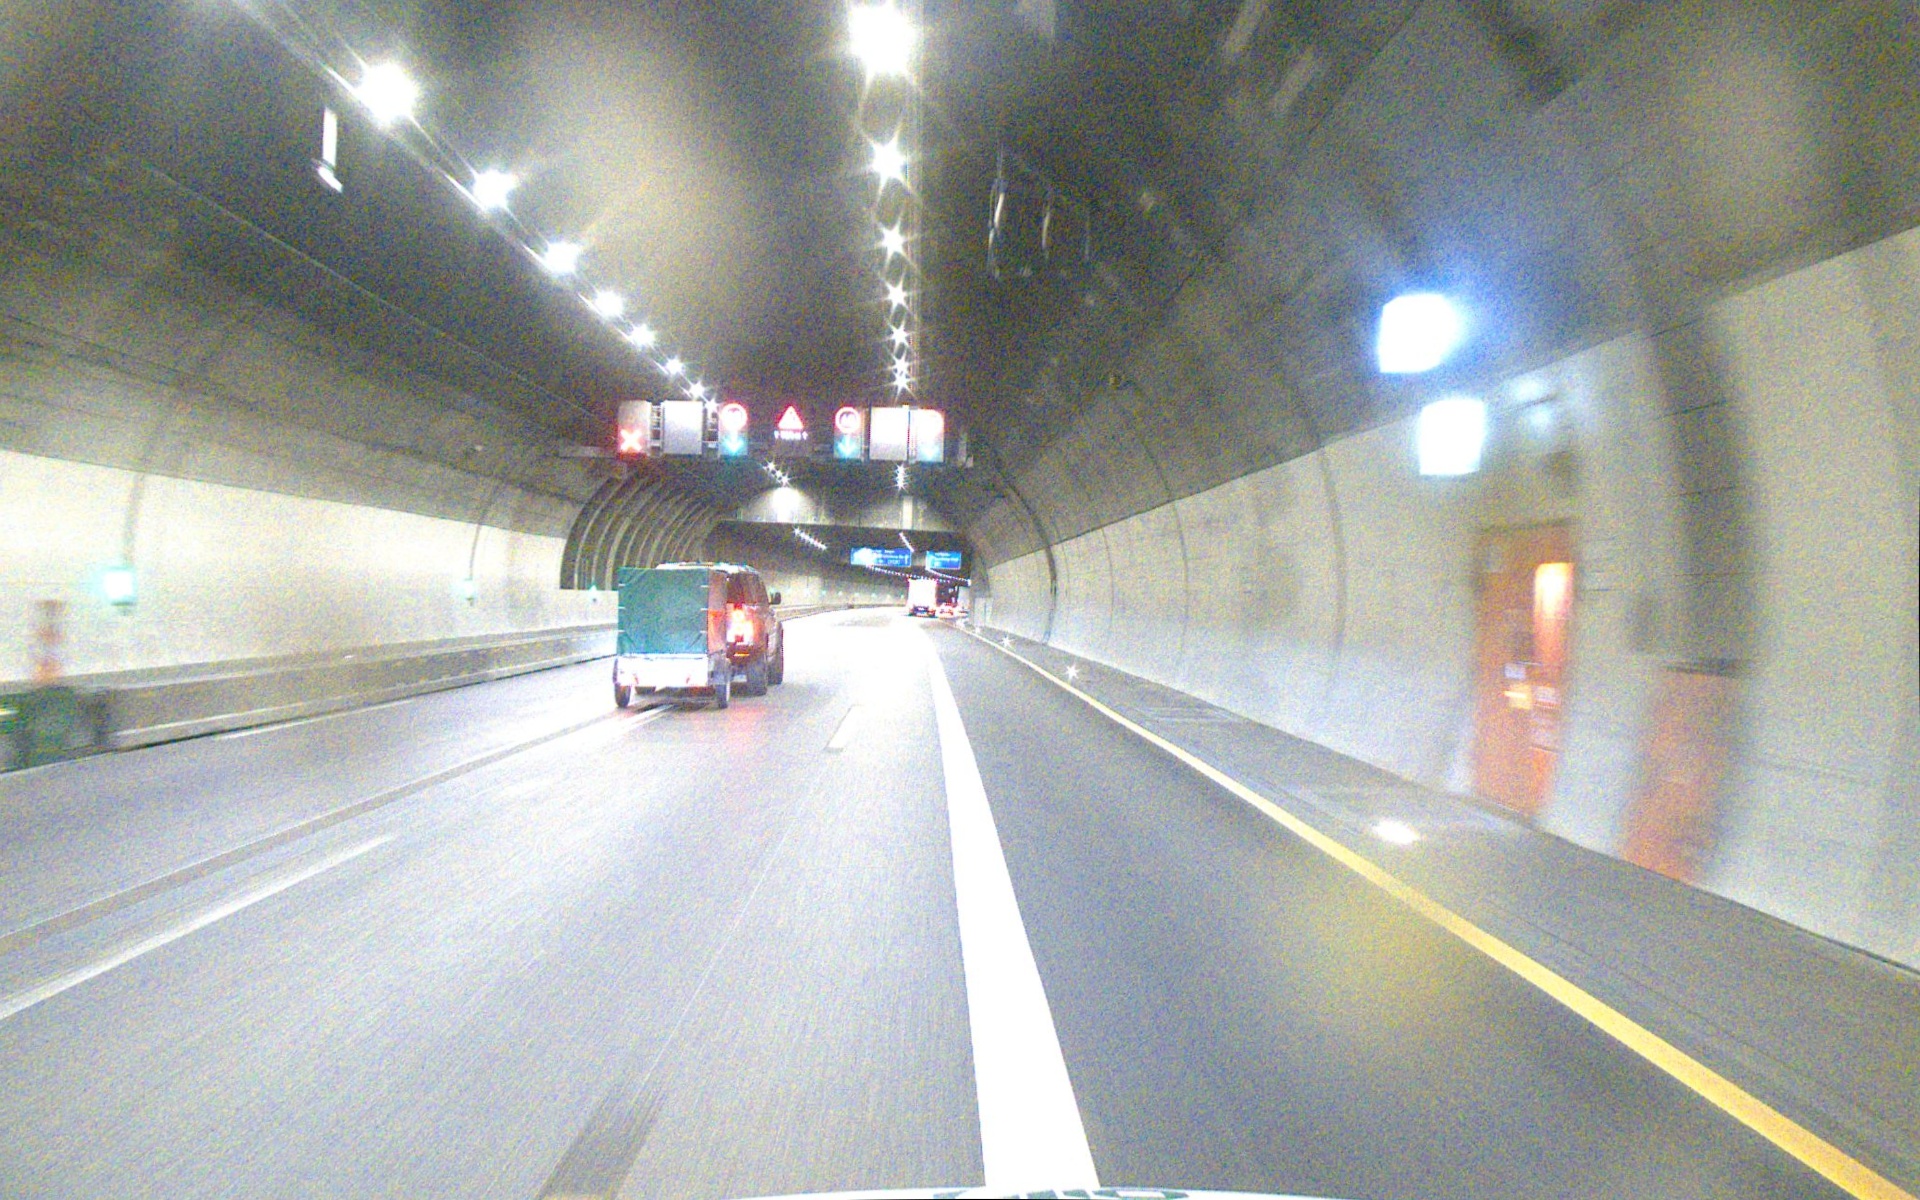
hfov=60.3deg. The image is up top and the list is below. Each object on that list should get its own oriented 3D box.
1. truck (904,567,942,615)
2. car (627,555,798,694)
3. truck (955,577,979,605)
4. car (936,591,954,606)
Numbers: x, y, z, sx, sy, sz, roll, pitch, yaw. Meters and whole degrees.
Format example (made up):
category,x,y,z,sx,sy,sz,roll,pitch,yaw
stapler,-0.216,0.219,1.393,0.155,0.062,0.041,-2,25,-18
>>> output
category,x,y,z,sx,sy,sz,roll,pitch,yaw
truck,-3.665,-0.944,161.806,3.404,4.391,10.947,2,1,-2
car,-3.782,0.329,26.268,1.953,1.928,5.452,1,0,-1
truck,0.993,-1.412,261.266,3.404,4.391,10.948,0,0,-2
car,-2.025,-0.210,222.491,1.952,1.928,5.534,1,0,3
